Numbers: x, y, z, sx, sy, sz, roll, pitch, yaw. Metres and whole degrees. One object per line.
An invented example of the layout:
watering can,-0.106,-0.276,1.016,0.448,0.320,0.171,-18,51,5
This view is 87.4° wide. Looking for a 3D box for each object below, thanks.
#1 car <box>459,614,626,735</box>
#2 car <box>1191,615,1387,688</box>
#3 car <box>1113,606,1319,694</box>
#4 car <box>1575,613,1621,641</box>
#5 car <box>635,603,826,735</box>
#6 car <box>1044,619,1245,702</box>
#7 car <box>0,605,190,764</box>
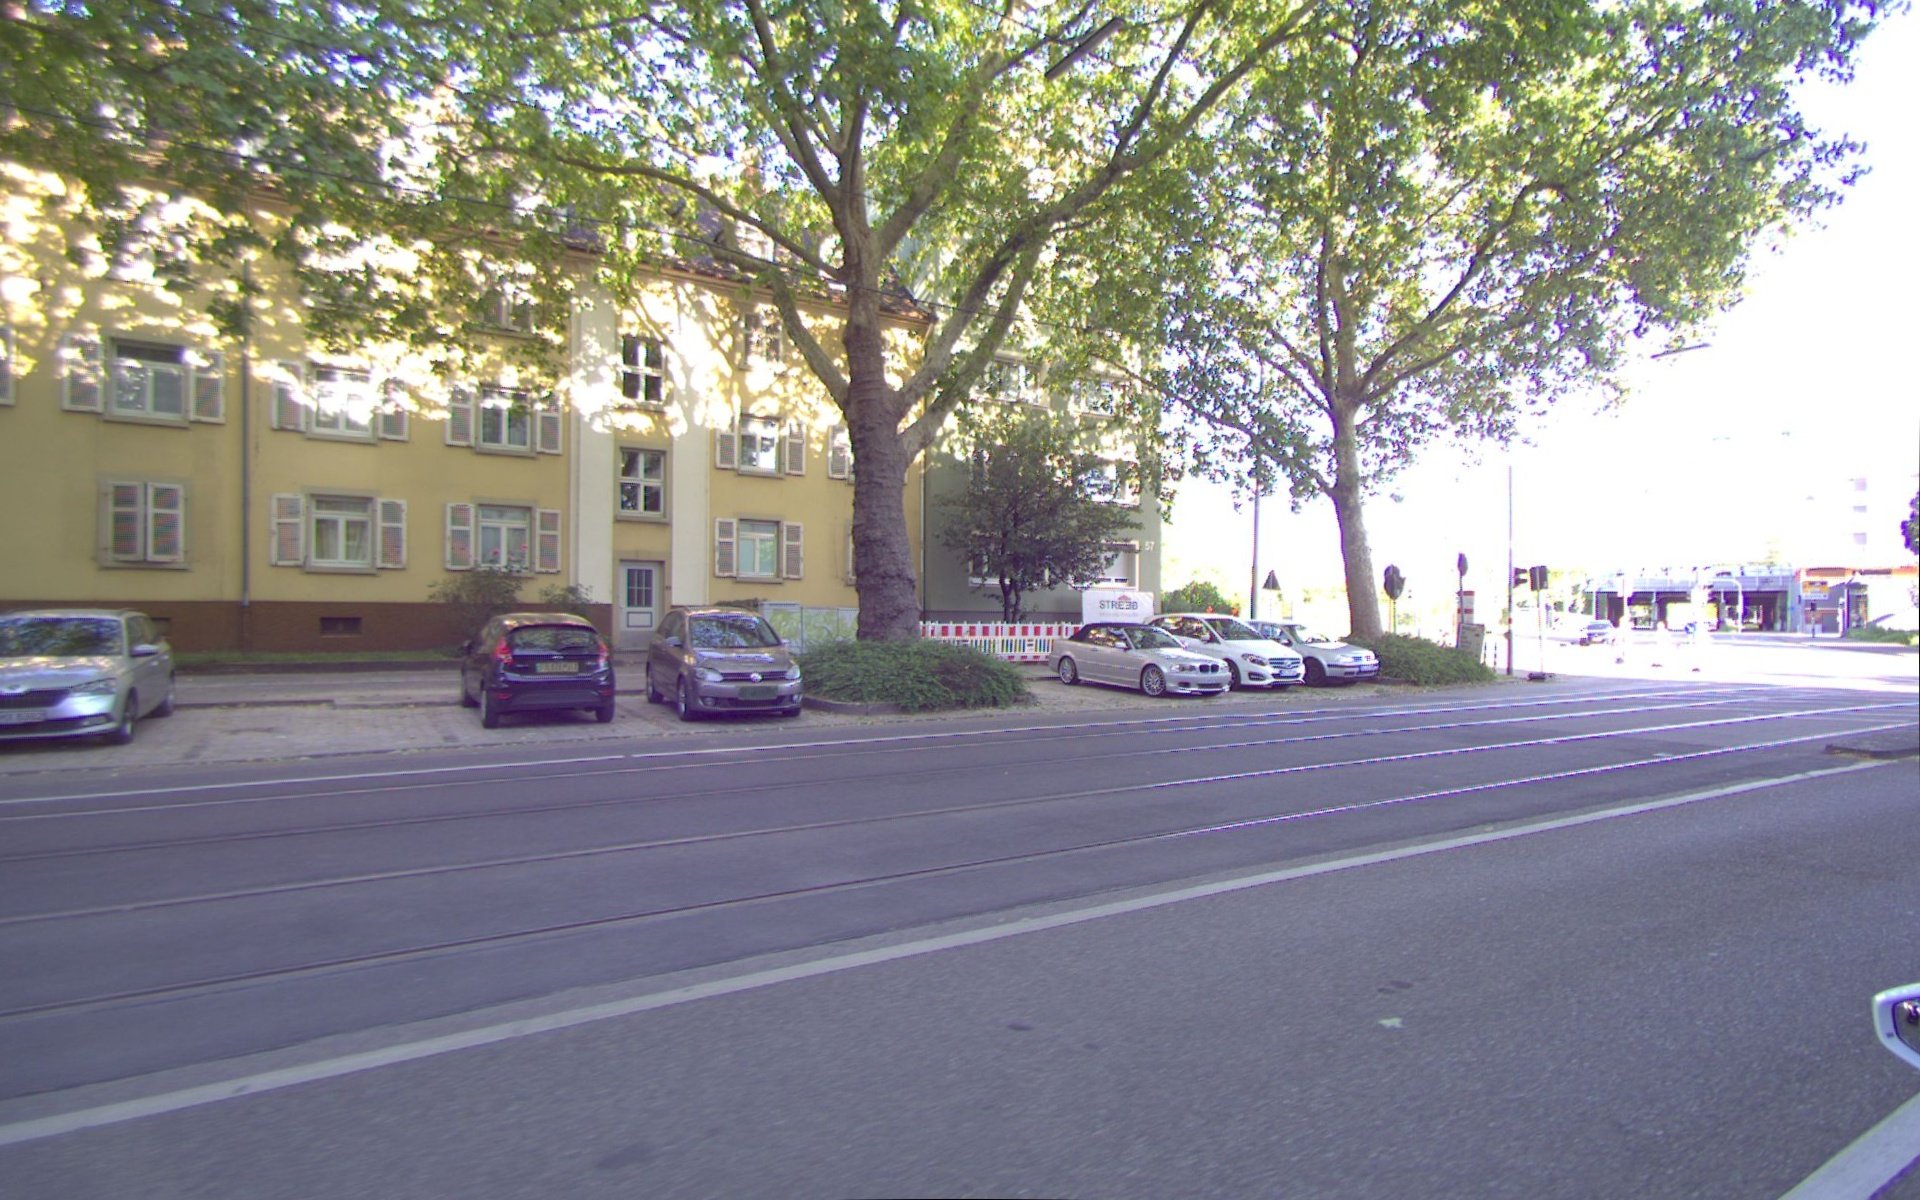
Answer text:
car,-6.100,0.958,14.460,1.723,1.449,3.545,1,0,-31
car,7.689,1.144,23.927,1.656,1.448,4.490,1,0,-30
car,5.602,1.035,22.594,1.777,1.640,4.587,1,1,-30
car,38.035,1.576,59.856,1.803,1.539,3.876,2,1,40
car,-3.698,0.932,15.598,1.793,1.627,4.169,1,1,-29
car,3.640,1.144,20.563,1.708,1.386,4.220,1,0,-30
car,-10.622,0.881,11.974,1.710,1.489,4.124,2,0,-30
